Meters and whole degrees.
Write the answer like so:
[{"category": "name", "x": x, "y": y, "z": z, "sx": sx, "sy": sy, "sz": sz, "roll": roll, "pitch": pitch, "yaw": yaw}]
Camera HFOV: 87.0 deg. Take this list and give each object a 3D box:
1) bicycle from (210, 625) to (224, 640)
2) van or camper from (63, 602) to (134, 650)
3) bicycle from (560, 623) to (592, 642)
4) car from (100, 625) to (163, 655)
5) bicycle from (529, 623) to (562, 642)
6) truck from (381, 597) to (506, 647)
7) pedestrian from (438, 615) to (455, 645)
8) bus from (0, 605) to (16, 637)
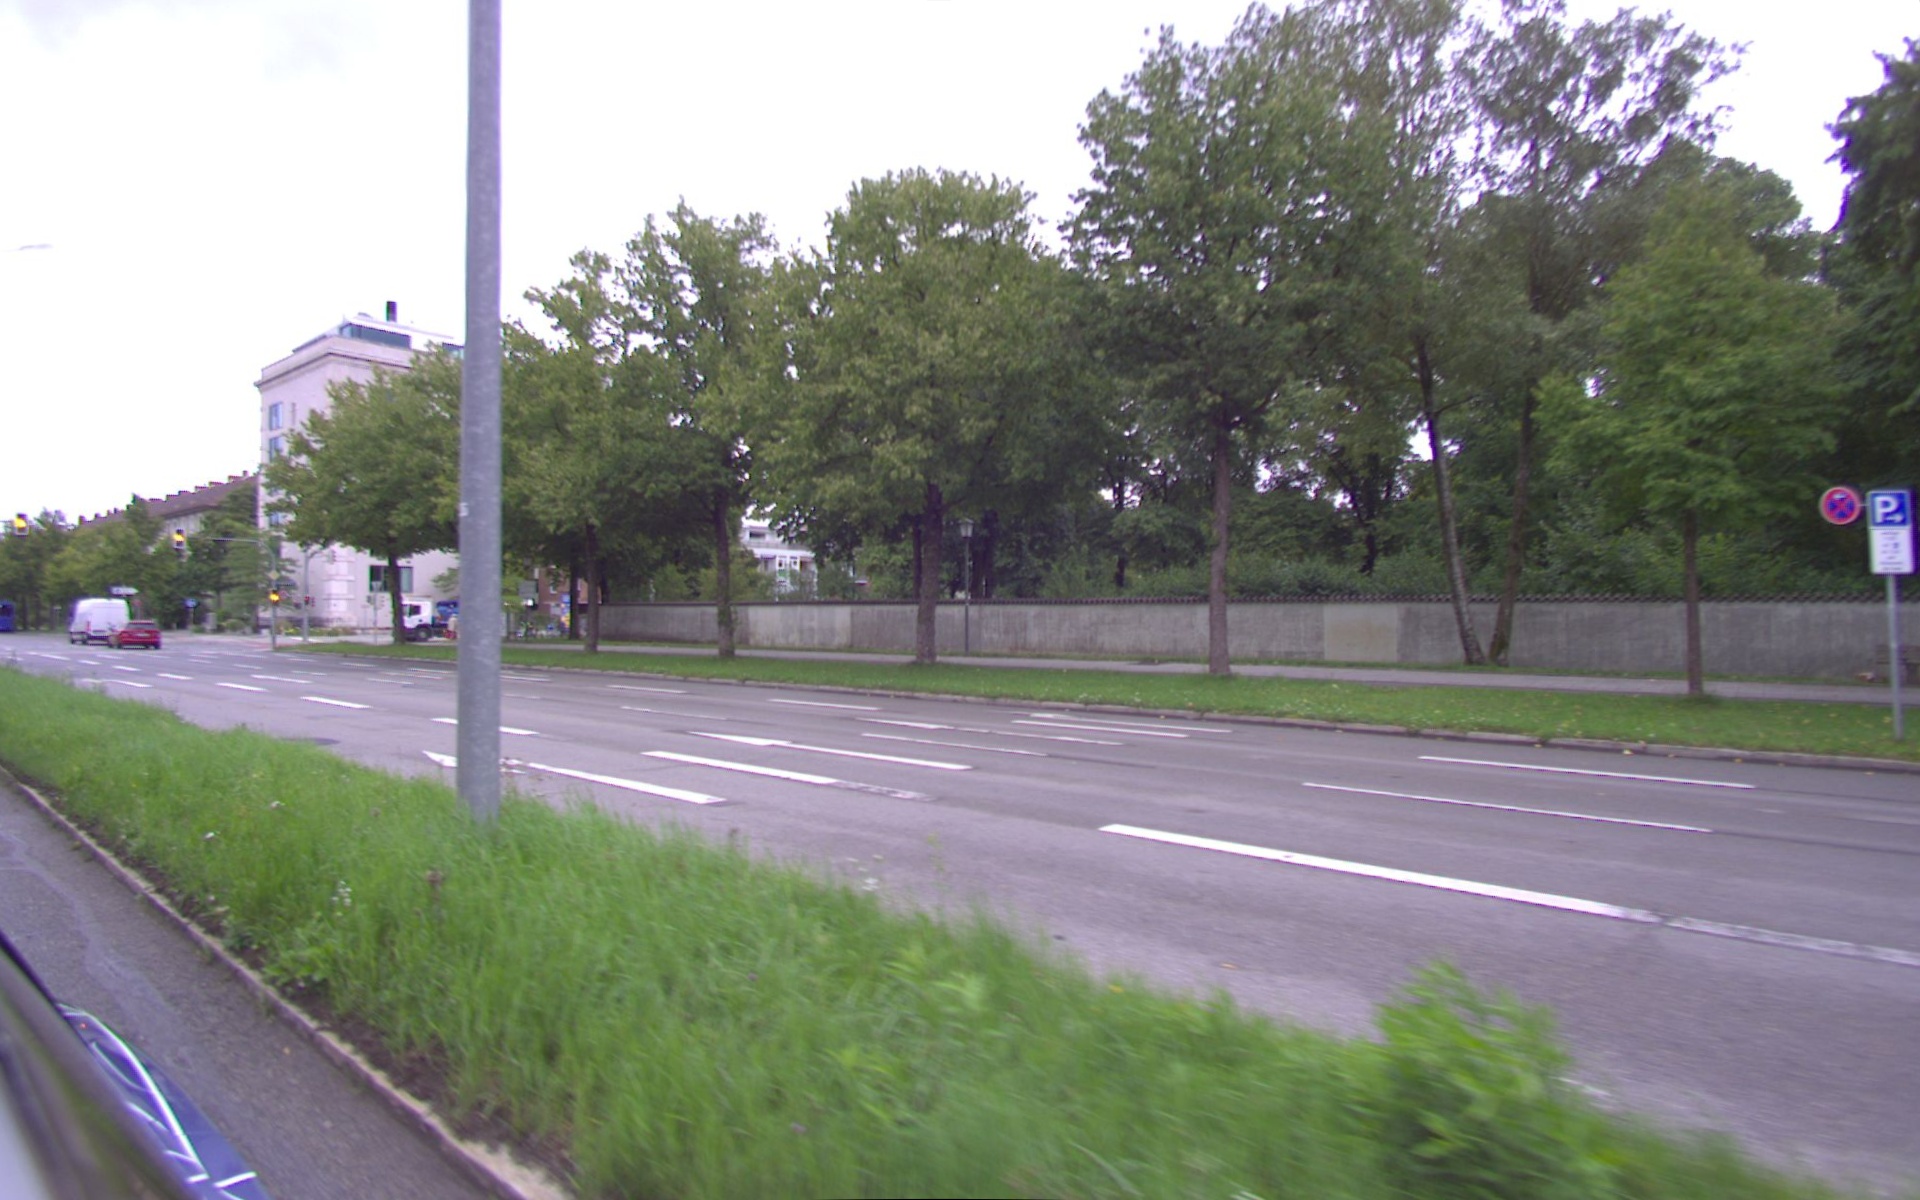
[{"category": "bicycle", "x": -60.669, "y": 2.662, "z": 82.605, "sx": 1.825, "sy": 1.190, "sz": 0.539, "roll": -1, "pitch": -1, "yaw": 40}, {"category": "van or camper", "x": -50.813, "y": 1.536, "z": 59.646, "sx": 6.948, "sy": 2.667, "sz": 2.155, "roll": -1, "pitch": -3, "yaw": 42}, {"category": "bicycle", "x": -24.506, "y": 2.048, "z": 64.520, "sx": 2.494, "sy": 1.195, "sz": 0.827, "roll": -1, "pitch": -2, "yaw": 40}, {"category": "car", "x": -42.704, "y": 2.060, "z": 52.112, "sx": 4.655, "sy": 1.463, "sz": 1.725, "roll": -2, "pitch": -4, "yaw": 41}, {"category": "bicycle", "x": -25.972, "y": 2.038, "z": 63.400, "sx": 2.494, "sy": 1.195, "sz": 0.827, "roll": -1, "pitch": -2, "yaw": 40}, {"category": "truck", "x": -37.762, "y": 1.594, "z": 74.270, "sx": 2.771, "sy": 3.515, "sz": 7.714, "roll": -1, "pitch": -2, "yaw": 42}, {"category": "pedestrian", "x": -30.445, "y": 1.776, "z": 59.986, "sx": 0.516, "sy": 1.753, "sz": 0.701, "roll": -1, "pitch": -2, "yaw": 36}, {"category": "bus", "x": -105.641, "y": 2.309, "z": 110.123, "sx": 12.038, "sy": 3.369, "sz": 2.717, "roll": -1, "pitch": -3, "yaw": 40}]
